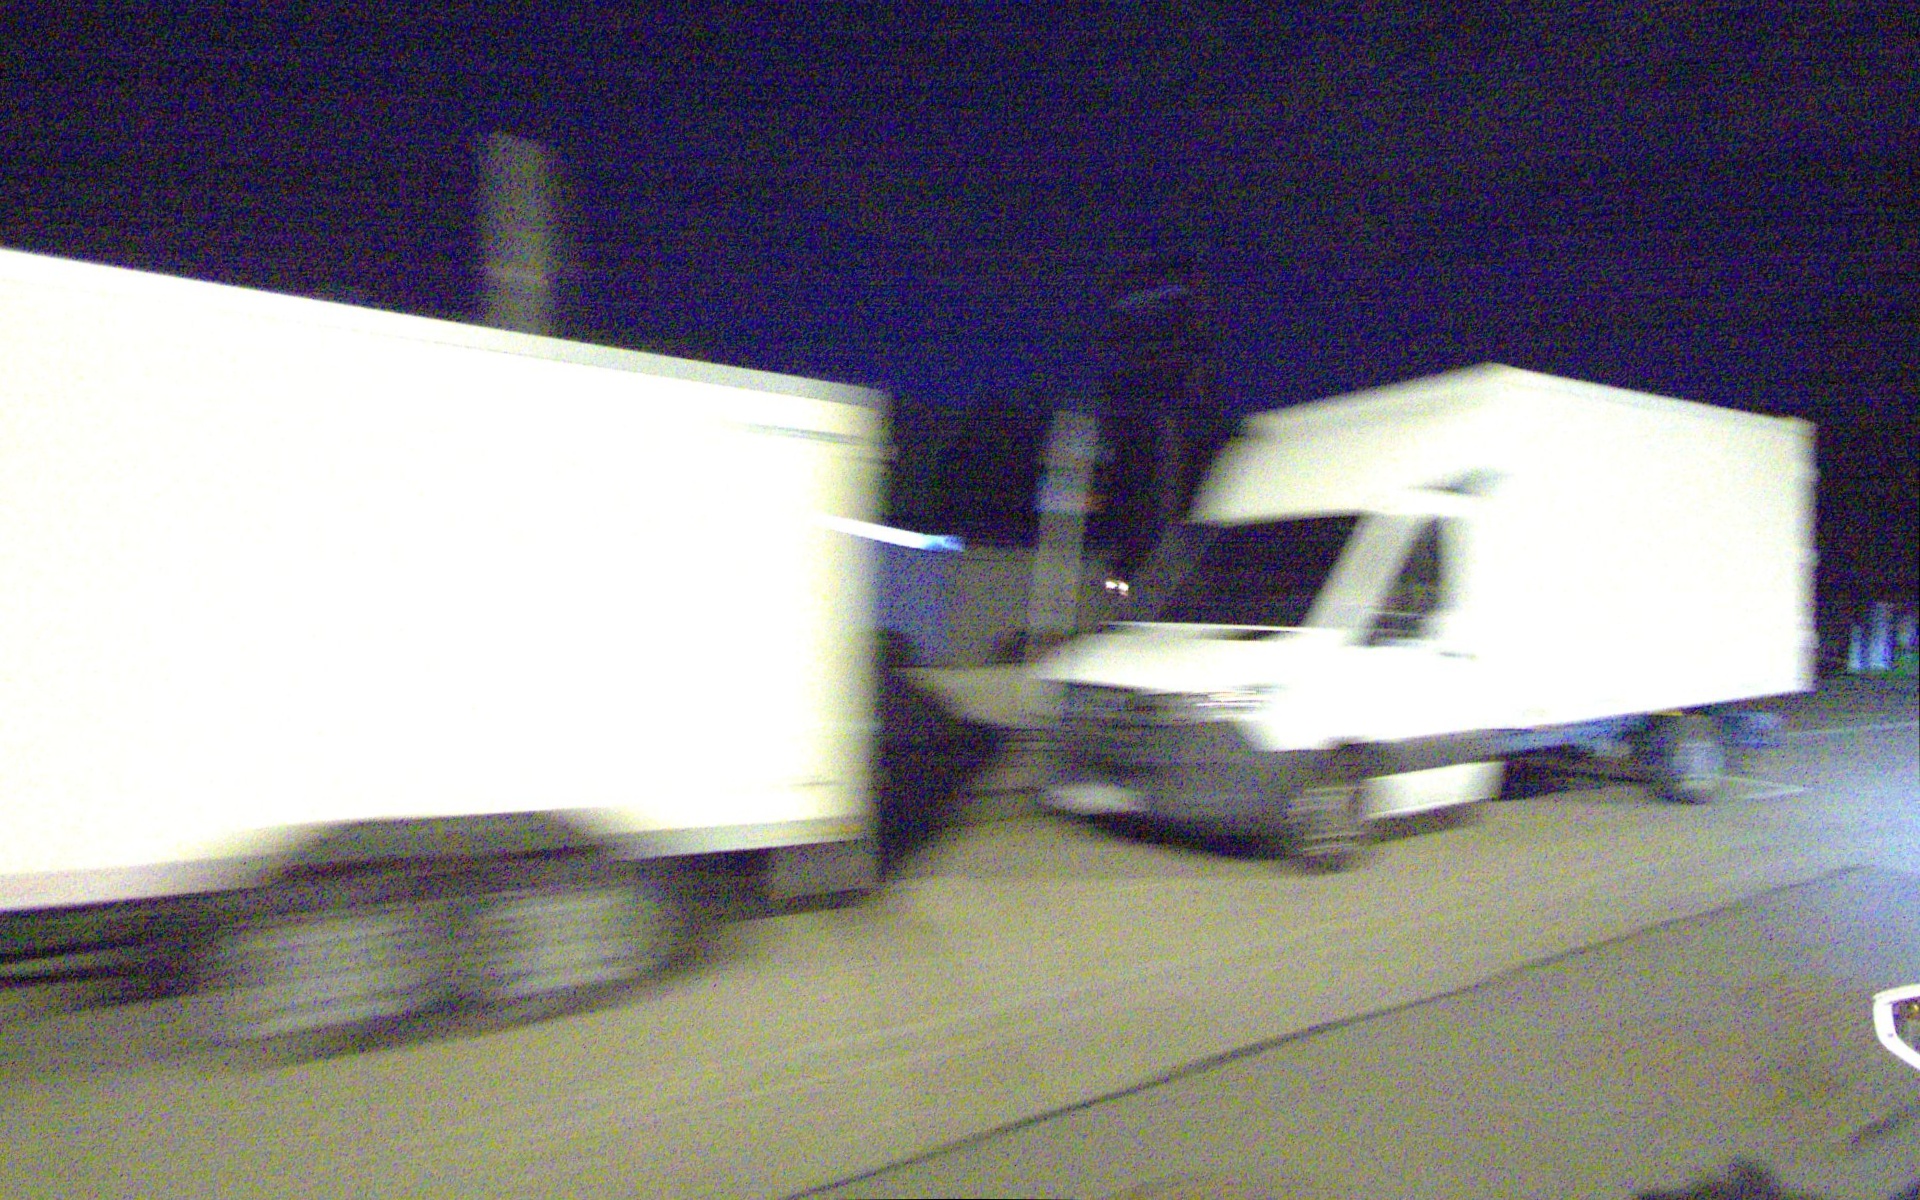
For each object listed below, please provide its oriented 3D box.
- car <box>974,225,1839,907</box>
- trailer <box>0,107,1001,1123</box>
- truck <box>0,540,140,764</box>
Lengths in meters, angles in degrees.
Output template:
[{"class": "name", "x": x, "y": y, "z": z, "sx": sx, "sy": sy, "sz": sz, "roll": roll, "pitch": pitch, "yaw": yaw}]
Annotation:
[{"class": "car", "x": 3.780, "y": -0.120, "z": 7.723, "sx": 7.149, "sy": 3.286, "sz": 2.370, "roll": 1, "pitch": 1, "yaw": -31}, {"class": "trailer", "x": -2.014, "y": 0.068, "z": 4.278, "sx": 3.952, "sy": 2.802, "sz": 1.988, "roll": 1, "pitch": -1, "yaw": -30}, {"class": "truck", "x": -14.754, "y": 0.562, "z": 12.423, "sx": 6.969, "sy": 2.648, "sz": 2.136, "roll": 1, "pitch": 0, "yaw": -8}]
